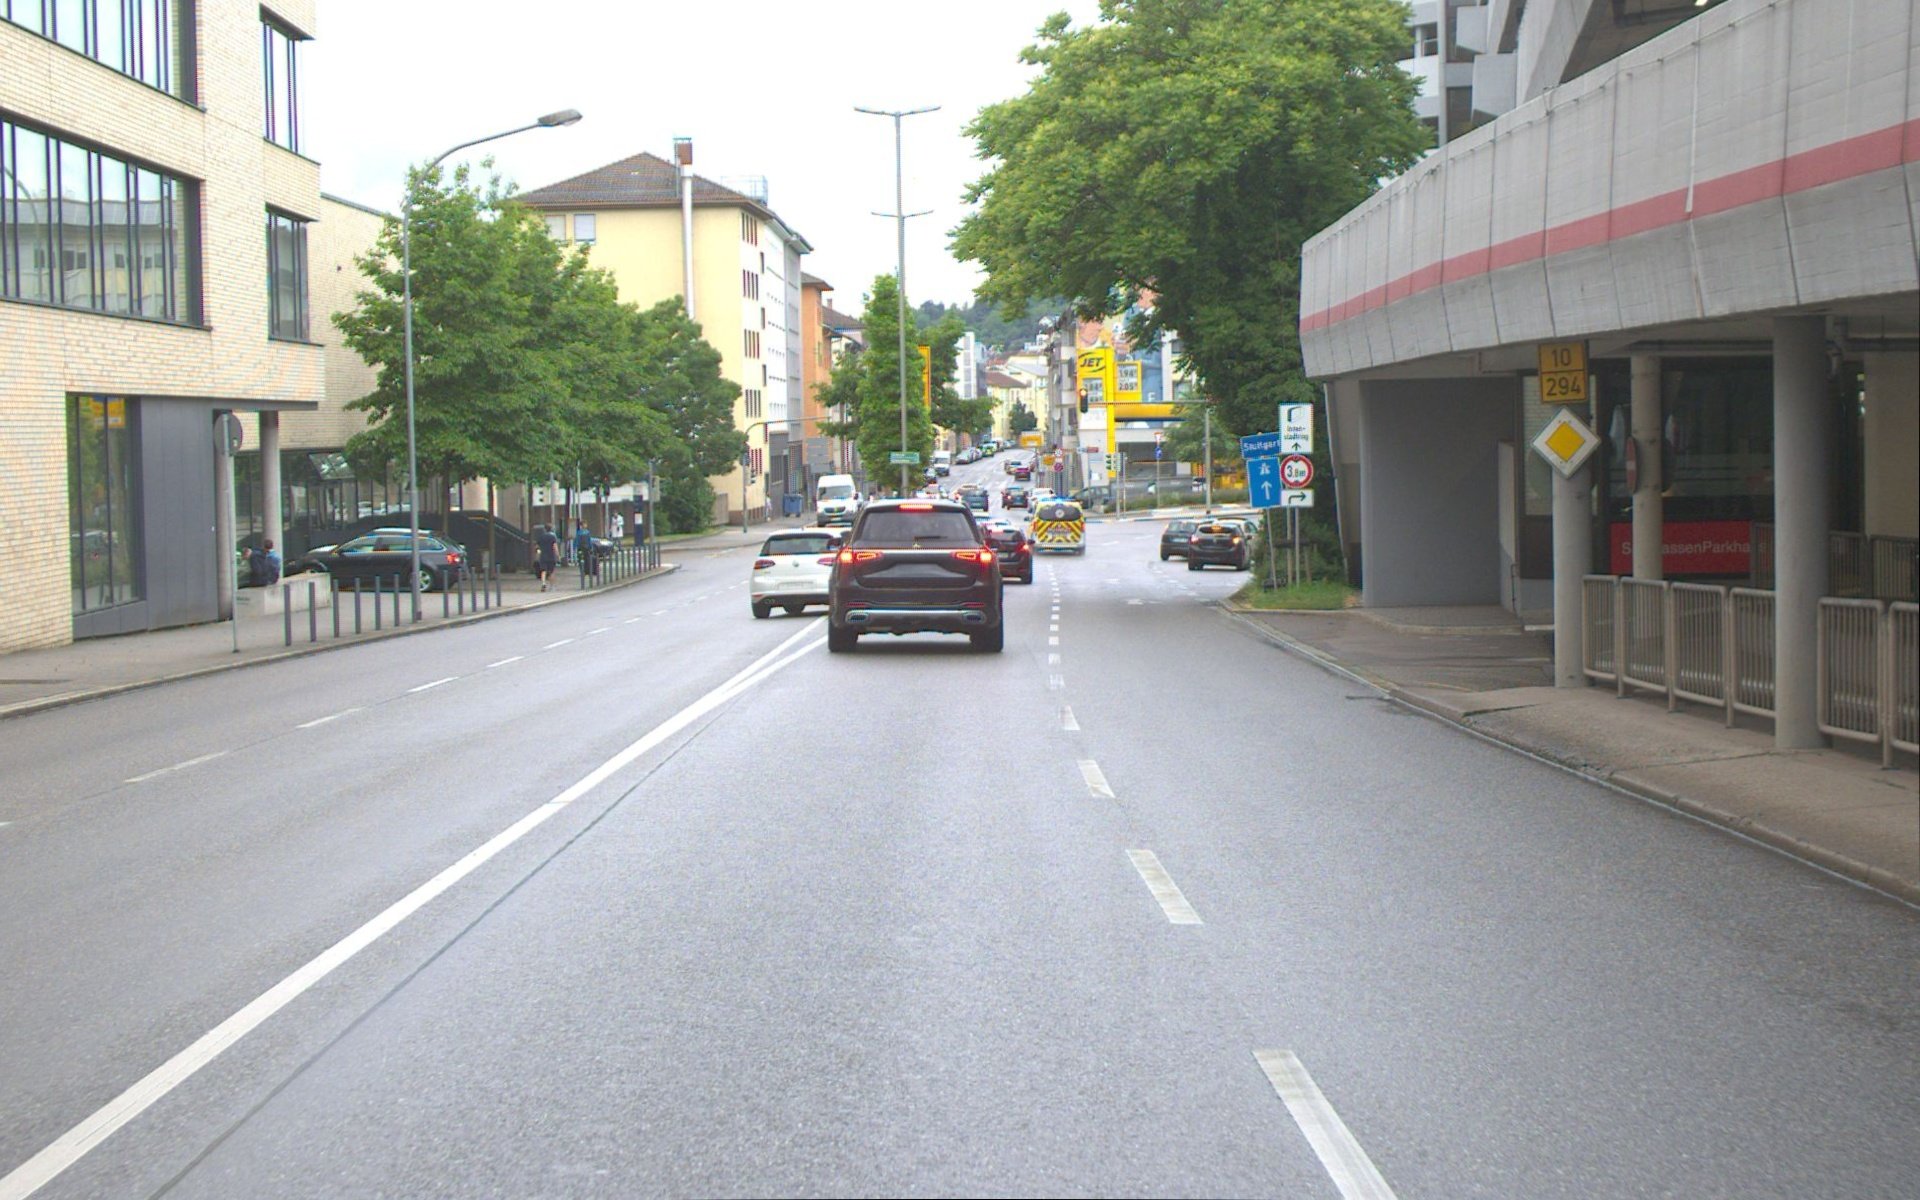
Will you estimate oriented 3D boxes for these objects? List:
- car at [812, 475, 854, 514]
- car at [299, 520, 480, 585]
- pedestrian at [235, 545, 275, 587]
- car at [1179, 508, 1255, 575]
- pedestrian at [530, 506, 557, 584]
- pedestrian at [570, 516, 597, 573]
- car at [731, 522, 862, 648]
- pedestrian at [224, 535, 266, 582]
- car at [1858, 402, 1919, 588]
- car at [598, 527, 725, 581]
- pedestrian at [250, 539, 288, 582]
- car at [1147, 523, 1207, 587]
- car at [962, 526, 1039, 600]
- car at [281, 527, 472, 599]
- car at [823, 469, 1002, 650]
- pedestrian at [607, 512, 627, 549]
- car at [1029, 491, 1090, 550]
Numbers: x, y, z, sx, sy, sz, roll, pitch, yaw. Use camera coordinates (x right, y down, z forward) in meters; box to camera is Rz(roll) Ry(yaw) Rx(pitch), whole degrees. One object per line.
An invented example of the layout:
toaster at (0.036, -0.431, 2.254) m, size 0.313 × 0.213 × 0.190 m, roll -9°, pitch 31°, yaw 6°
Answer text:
car at (-6.466, -5.378, 175.297) m, size 1.993 × 1.868 × 5.142 m, roll 1°, pitch 1°, yaw -1°
car at (-14.633, -1.227, 88.347) m, size 4.415 × 1.568 × 2.001 m, roll 1°, pitch 3°, yaw -4°
pedestrian at (-13.602, -0.653, 66.341) m, size 0.598 × 0.783 × 0.760 m, roll 1°, pitch 0°, yaw 1°
car at (7.940, -1.824, 106.571) m, size 1.993 × 2.007 × 4.000 m, roll 0°, pitch 2°, yaw -1°
pedestrian at (-10.757, -1.412, 88.823) m, size 0.588 × 2.007 × 0.749 m, roll 1°, pitch 0°, yaw -1°
pedestrian at (-11.482, -1.691, 104.868) m, size 0.688 × 1.720 × 0.754 m, roll 1°, pitch -2°, yaw 1°
car at (-2.711, -0.269, 57.903) m, size 1.993 × 2.007 × 4.000 m, roll 1°, pitch 1°, yaw 0°
pedestrian at (-13.692, -0.790, 65.822) m, size 0.681 × 0.883 × 0.524 m, roll 1°, pitch 0°, yaw 1°
car at (10.499, -0.893, 30.869) m, size 4.578 × 1.634 × 1.821 m, roll 1°, pitch 1°, yaw 12°
car at (-11.472, -1.771, 131.889) m, size 4.804 × 2.006 × 2.001 m, roll -1°, pitch 2°, yaw -6°
pedestrian at (-13.526, -0.779, 67.318) m, size 0.586 × 0.842 × 0.727 m, roll 0°, pitch 0°, yaw 1°
car at (7.497, -1.542, 118.746) m, size 1.994 × 2.121 × 4.000 m, roll 1°, pitch 1°, yaw 3°
car at (0.966, -0.901, 83.753) m, size 1.703 × 1.710 × 3.444 m, roll 1°, pitch 1°, yaw -2°
car at (-14.463, -0.927, 85.420) m, size 4.467 × 1.581 × 2.000 m, roll -2°, pitch 2°, yaw -5°
car at (-0.542, -0.479, 40.850) m, size 1.993 × 2.007 × 4.000 m, roll 1°, pitch 1°, yaw 0°
pedestrian at (-13.797, -2.803, 138.269) m, size 0.711 × 1.457 × 0.598 m, roll 1°, pitch 0°, yaw 0°
car at (3.523, -2.811, 122.525) m, size 1.993 × 2.007 × 4.000 m, roll 1°, pitch 1°, yaw 0°
